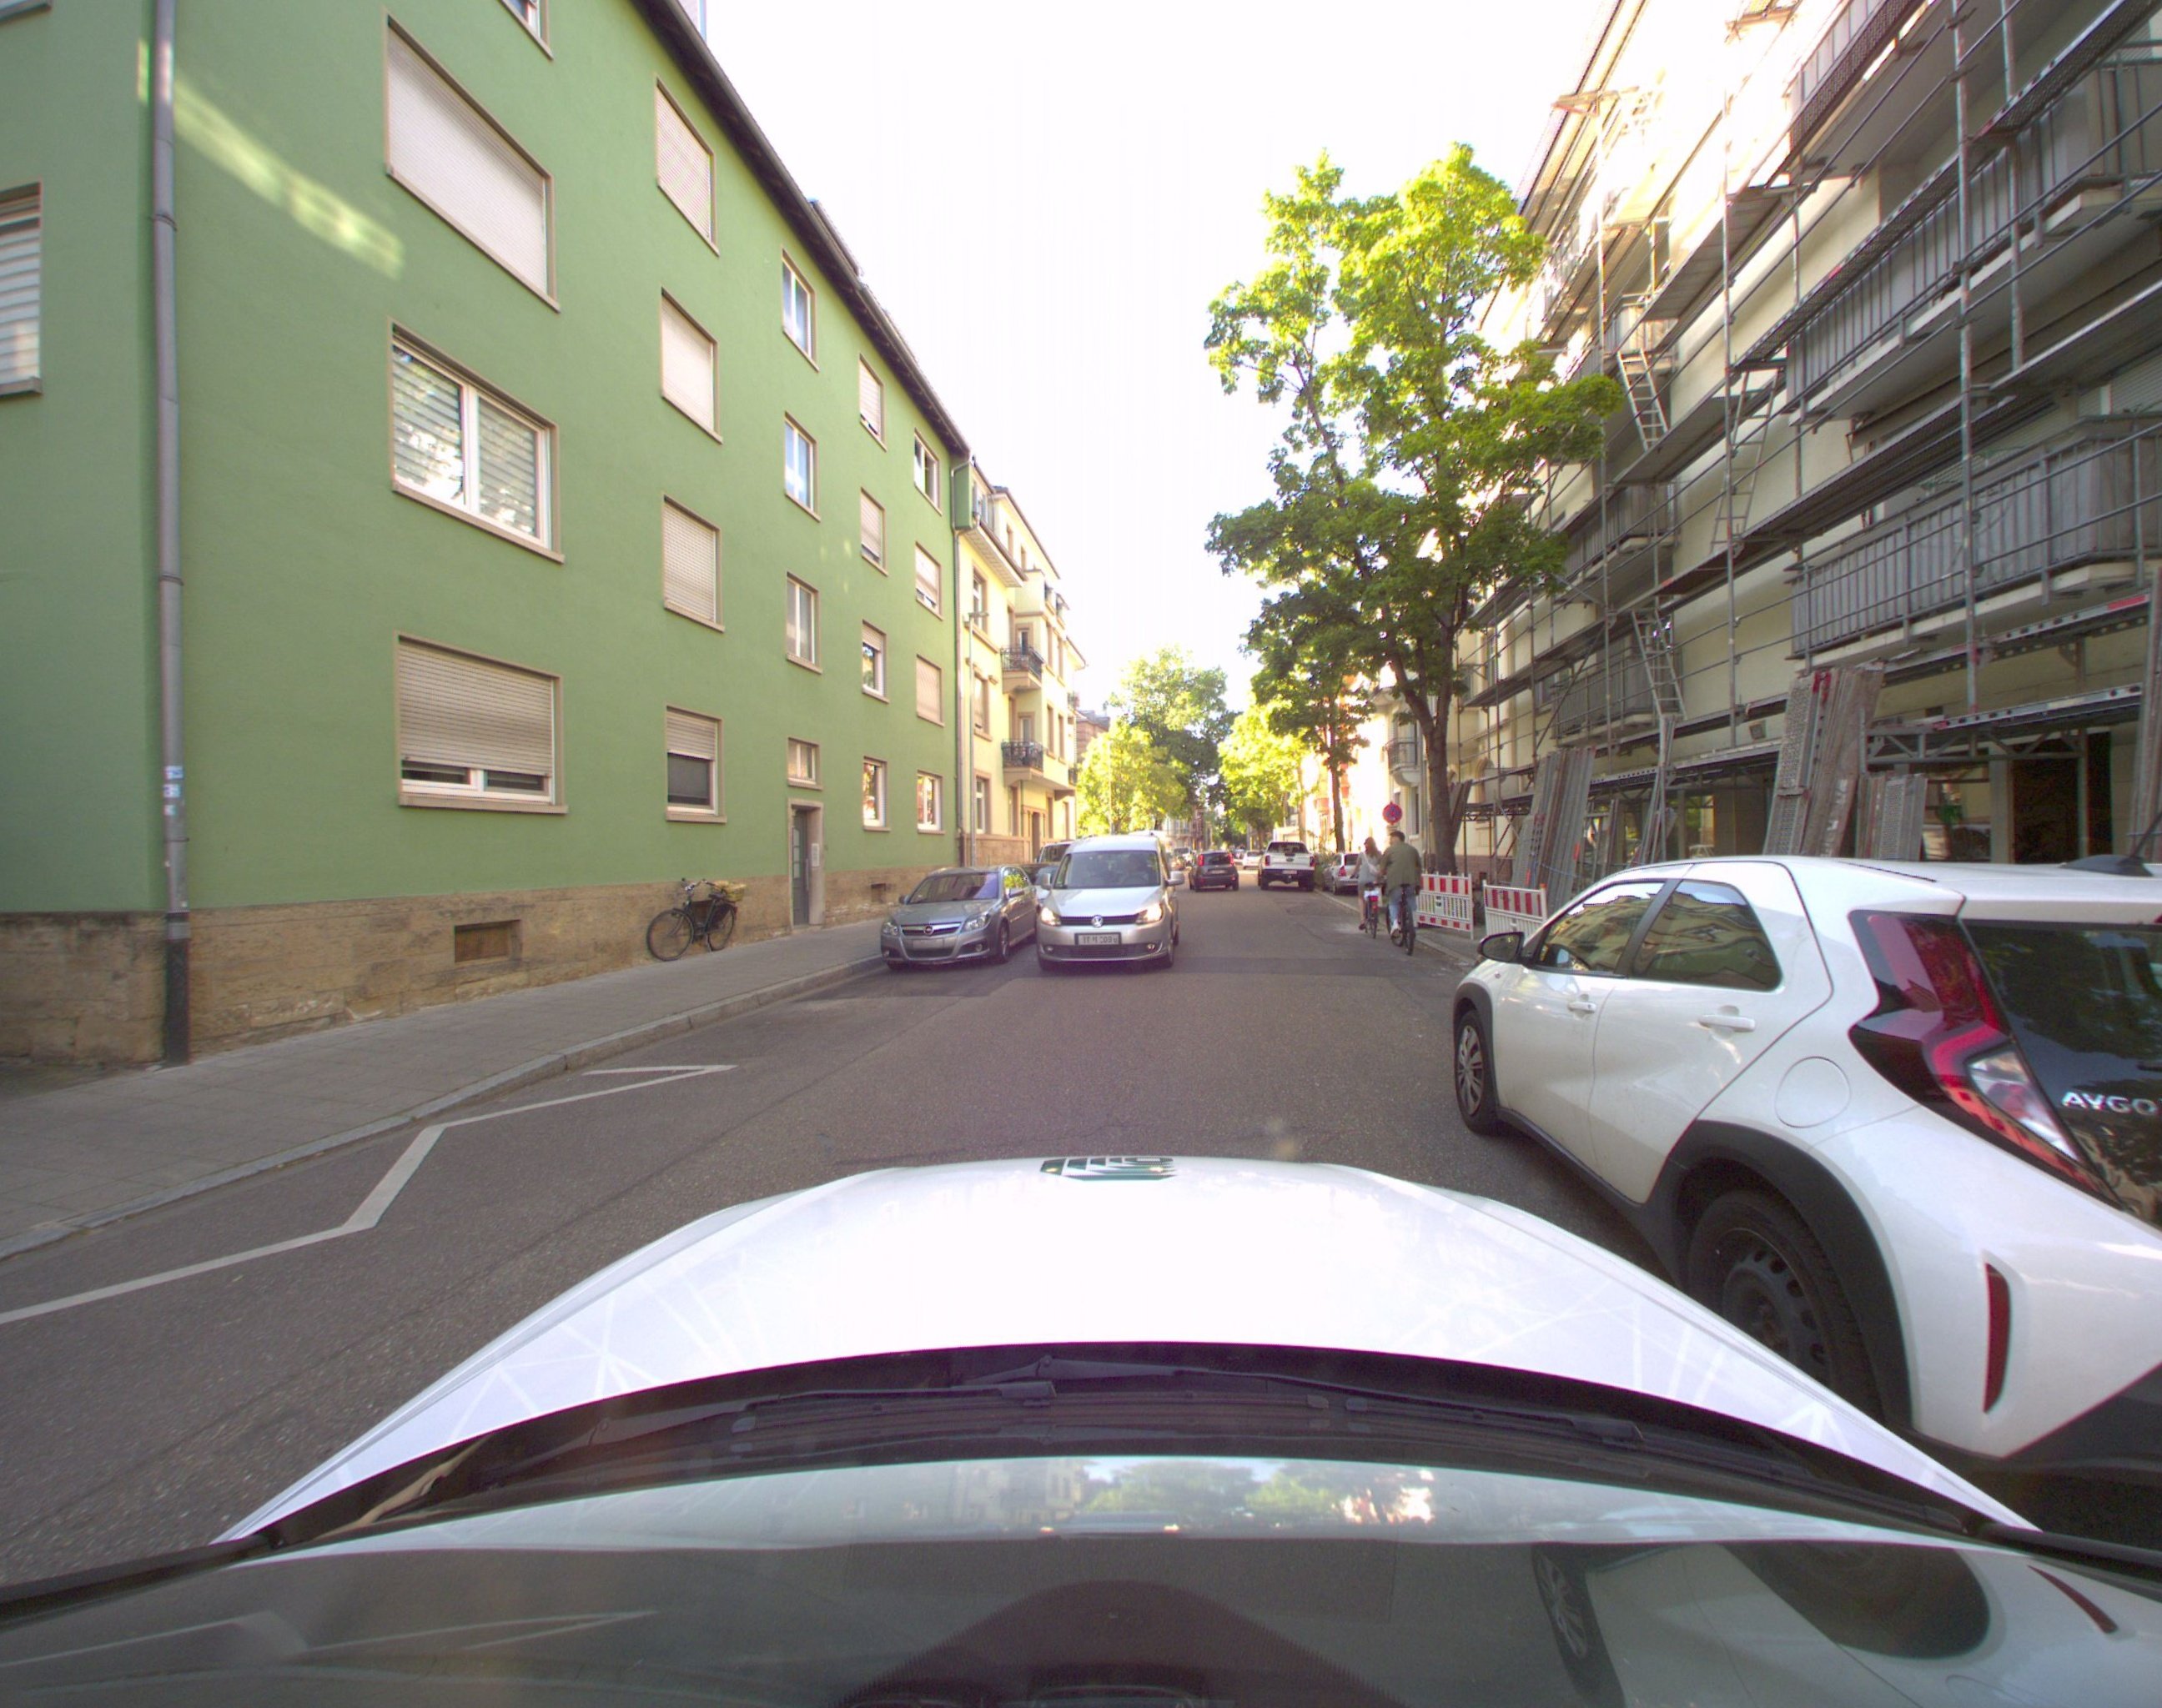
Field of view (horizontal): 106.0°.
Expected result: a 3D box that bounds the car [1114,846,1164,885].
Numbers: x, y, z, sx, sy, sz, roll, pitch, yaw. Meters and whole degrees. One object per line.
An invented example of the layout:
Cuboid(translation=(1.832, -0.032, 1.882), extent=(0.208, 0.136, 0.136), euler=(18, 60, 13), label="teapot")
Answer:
Cuboid(translation=(2.882, 0.489, 39.469), extent=(1.864, 1.685, 4.983), euler=(-3, 0, 10), label="car")

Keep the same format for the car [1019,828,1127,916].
Cuboid(translation=(-0.081, 0.469, 23.820), extent=(2.239, 2.168, 5.256), euler=(-4, 0, 8), label="car")

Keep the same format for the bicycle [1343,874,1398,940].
Cuboid(translation=(5.201, 0.921, 14.724), extent=(0.701, 1.045, 1.864), euler=(2, 0, 13), label="bicycle")

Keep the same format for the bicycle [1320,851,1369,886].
Cuboid(translation=(10.239, 0.572, 31.692), extent=(1.749, 1.305, 0.587), euler=(-1, 0, 8), label="bicycle")

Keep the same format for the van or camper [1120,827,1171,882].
Cuboid(translation=(3.678, 0.010, 45.200), extent=(2.115, 2.769, 5.868), euler=(-3, 0, 10), label="van or camper")

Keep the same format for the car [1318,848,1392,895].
Cuboid(translation=(9.273, 0.542, 27.858), extent=(1.670, 1.422, 4.442), euler=(-2, 0, 10), label="car")

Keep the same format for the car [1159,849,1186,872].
Cuboid(translation=(6.998, 0.471, 61.983), extent=(1.665, 1.572, 4.164), euler=(-4, 0, 11), label="car")

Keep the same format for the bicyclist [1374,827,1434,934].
Cuboid(translation=(4.956, 0.383, 12.540), extent=(0.750, 1.565, 0.985), euler=(0, 0, 16), label="bicyclist")

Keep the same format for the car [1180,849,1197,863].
Cuboid(translation=(12.976, 0.206, 98.241), extent=(1.815, 1.554, 4.143), euler=(-5, -1, 8), label="car")

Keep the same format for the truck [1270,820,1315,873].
Cuboid(translation=(13.273, -0.468, 51.421), extent=(2.061, 2.968, 6.125), euler=(-4, 0, 9), label="truck")

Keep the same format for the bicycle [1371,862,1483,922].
Cuboid(translation=(6.888, 0.721, 16.256), extent=(1.905, 1.121, 0.752), euler=(0, 0, 40), label="bicycle")

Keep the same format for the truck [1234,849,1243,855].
Cuboid(translation=(37.325, -0.420, 193.354), extent=(1.981, 1.456, 4.012), euler=(-1, 0, 10), label="truck")

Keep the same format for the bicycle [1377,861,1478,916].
Cuboid(translation=(7.462, 0.730, 17.635), extent=(1.960, 1.121, 0.751), euler=(-1, 0, 20), label="bicycle")

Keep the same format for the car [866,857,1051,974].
Cuboid(translation=(-1.752, 0.845, 13.258), extent=(1.710, 1.462, 4.516), euler=(-4, 0, 7), label="car")

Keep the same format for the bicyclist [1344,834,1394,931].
Cuboid(translation=(5.228, 0.491, 14.836), extent=(0.710, 1.689, 0.985), euler=(2, 0, 12), label="bicyclist")

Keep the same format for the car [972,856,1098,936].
Cuboid(translation=(-0.868, 0.840, 18.218), extent=(1.822, 1.462, 4.374), euler=(-4, 0, 9), label="car")

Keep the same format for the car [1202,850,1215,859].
Cuboid(translation=(20.996, 0.056, 134.158), extent=(1.785, 1.432, 3.937), euler=(-4, 0, 11), label="car")

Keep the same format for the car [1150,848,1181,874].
Cuboid(translation=(5.845, 0.440, 55.867), extent=(1.769, 1.590, 4.481), euler=(-3, 0, 10), label="car")

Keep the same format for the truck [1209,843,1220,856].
Cuboid(translation=(30.454, -1.024, 186.072), extent=(2.057, 2.926, 5.083), euler=(-5, -1, 11), label="truck")

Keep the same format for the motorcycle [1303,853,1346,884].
Cuboid(translation=(10.196, 0.589, 34.048), extent=(1.770, 1.240, 0.696), euler=(-1, 0, -29), label="motorcycle")

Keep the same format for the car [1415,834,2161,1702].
Cuboid(translation=(2.709, 0.717, 3.311), extent=(1.790, 1.535, 3.977), euler=(0, 0, 11), label="car")

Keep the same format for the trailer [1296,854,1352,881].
Cuboid(translation=(10.546, 0.576, 35.366), extent=(2.076, 1.112, 1.114), euler=(-1, 0, -4), label="trailer")

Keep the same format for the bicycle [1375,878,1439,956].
Cuboid(translation=(4.977, 0.923, 12.529), extent=(0.733, 1.060, 1.866), euler=(0, 0, 16), label="bicycle")

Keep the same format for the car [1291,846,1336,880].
Cuboid(translation=(11.564, 0.410, 40.781), extent=(1.739, 1.529, 4.796), euler=(-2, 0, 11), label="car")

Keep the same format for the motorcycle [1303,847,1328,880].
Cuboid(translation=(10.733, 0.415, 37.286), extent=(0.924, 1.486, 2.145), euler=(-1, 0, 11), label="motorcycle")

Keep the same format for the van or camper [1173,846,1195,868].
Cuboid(translation=(10.476, 0.279, 82.580), extent=(1.910, 1.979, 5.476), euler=(-4, -1, 9), label="van or camper")

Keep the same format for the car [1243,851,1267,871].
Cuboid(translation=(13.426, 0.509, 63.089), extent=(1.669, 1.544, 3.810), euler=(0, 0, 9), label="car")

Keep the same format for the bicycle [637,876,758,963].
Cuboid(translation=(-5.484, 0.892, 11.787), extent=(0.484, 1.075, 1.975), euler=(3, 0, 10), label="bicycle")

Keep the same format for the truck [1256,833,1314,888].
Cuboid(translation=(7.871, 0.228, 31.827), extent=(1.817, 1.949, 5.557), euler=(-1, 0, 10), label="truck")

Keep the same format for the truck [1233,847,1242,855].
Cuboid(translation=(38.241, -0.779, 198.672), extent=(1.981, 1.992, 4.012), euler=(-1, 0, 10), label="truck")

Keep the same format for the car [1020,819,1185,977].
Cuboid(translation=(0.524, 0.545, 12.078), extent=(1.761, 1.843, 4.427), euler=(-3, -1, 9), label="car")

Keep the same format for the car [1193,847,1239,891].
Cuboid(translation=(5.144, 0.520, 31.057), extent=(1.623, 1.550, 3.273), euler=(-1, 0, 9), label="car")
